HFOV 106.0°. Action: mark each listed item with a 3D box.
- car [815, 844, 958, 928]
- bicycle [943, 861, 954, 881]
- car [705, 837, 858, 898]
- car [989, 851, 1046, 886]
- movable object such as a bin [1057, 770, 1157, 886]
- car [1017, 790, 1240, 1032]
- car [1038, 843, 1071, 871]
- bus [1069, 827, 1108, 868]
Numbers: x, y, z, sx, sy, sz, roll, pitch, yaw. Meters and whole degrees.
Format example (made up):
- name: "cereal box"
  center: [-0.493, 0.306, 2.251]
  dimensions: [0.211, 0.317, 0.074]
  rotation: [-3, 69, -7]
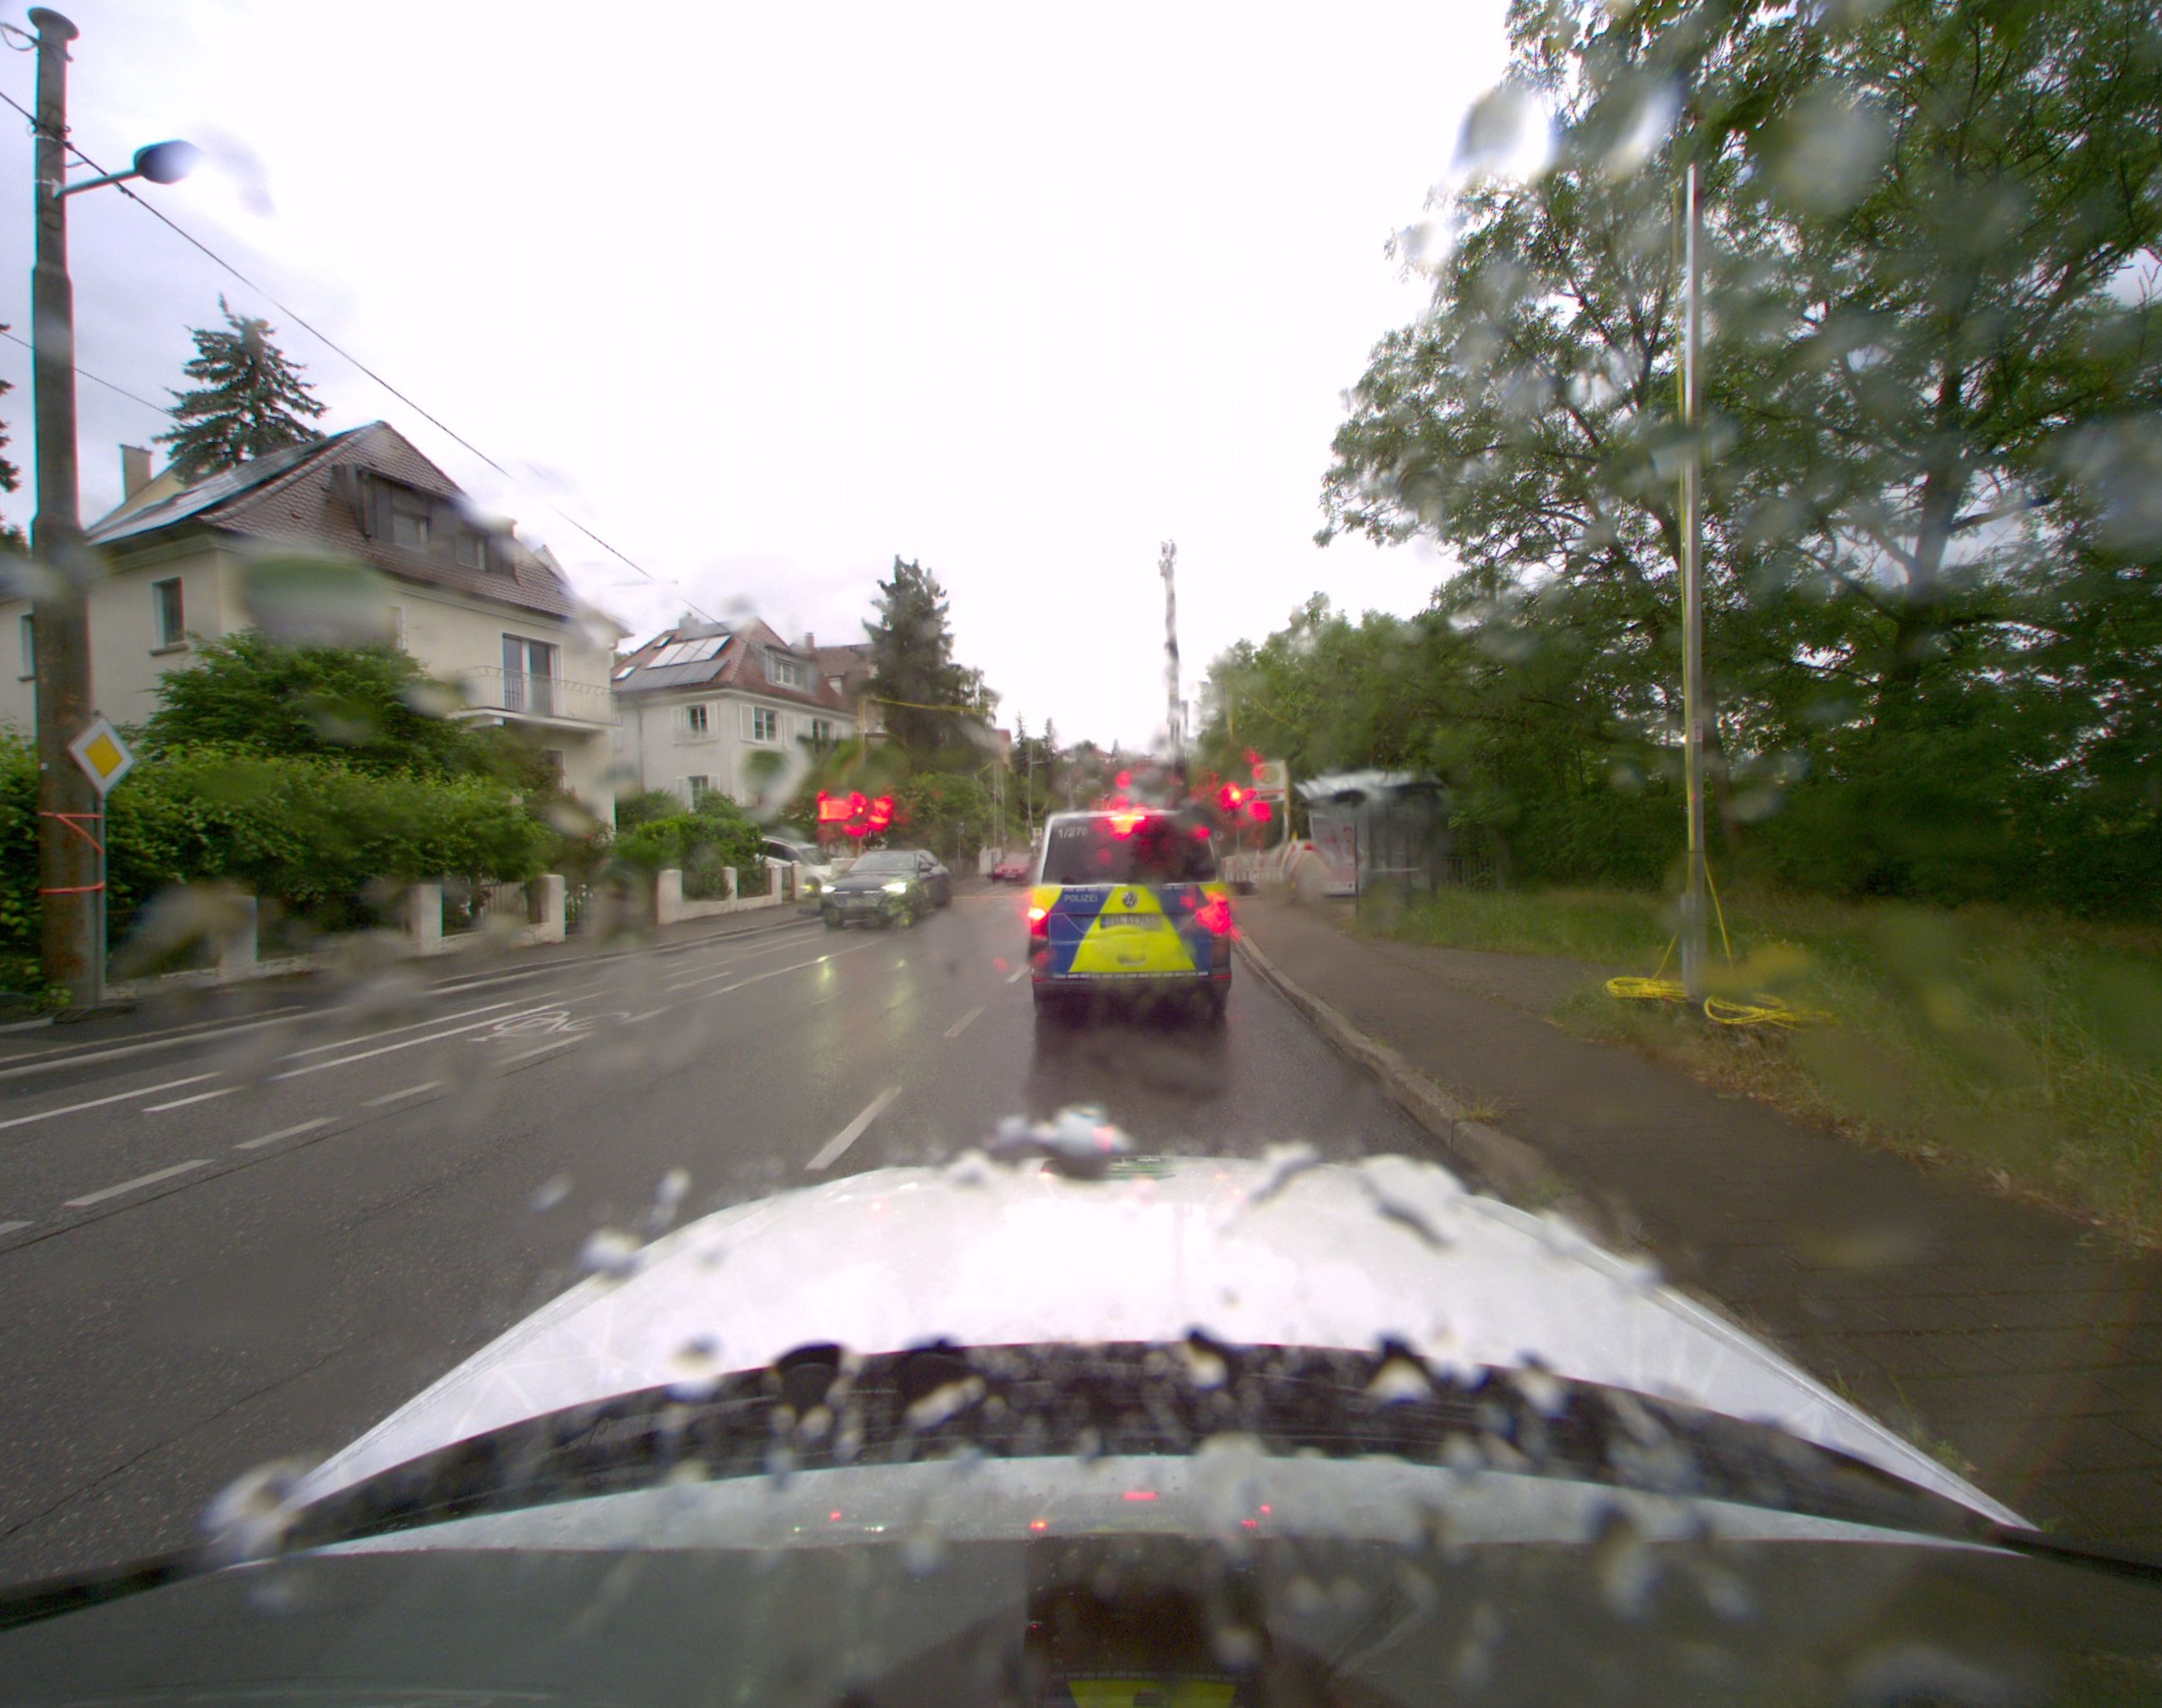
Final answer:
- name: "car"
  center: [-4.256, 0.654, 18.668]
  dimensions: [1.986, 1.674, 4.690]
  rotation: [0, 0, 2]
- name: "bicycle"
  center: [-6.493, 0.824, 39.878]
  dimensions: [0.463, 0.897, 1.627]
  rotation: [-1, 0, -12]
- name: "car"
  center: [-10.275, 0.456, 28.045]
  dimensions: [4.599, 2.007, 1.907]
  rotation: [0, 0, 13]
- name: "car"
  center: [-2.817, 0.605, 36.772]
  dimensions: [1.754, 1.463, 3.895]
  rotation: [0, 0, 8]
- name: "movable object such as a bin"
  center: [1.112, -0.931, 31.760]
  dimensions: [2.809, 4.177, 4.400]
  rotation: [0, 0, 17]
- name: "car"
  center: [0.466, 0.482, 8.929]
  dimensions: [1.886, 2.050, 4.002]
  rotation: [0, 0, 2]
- name: "car"
  center: [-1.659, 0.176, 52.293]
  dimensions: [1.973, 1.748, 4.553]
  rotation: [0, 0, 0]
- name: "bus"
  center: [0.889, -0.640, 79.828]
  dimensions: [2.827, 3.718, 12.022]
  rotation: [0, 0, 5]
